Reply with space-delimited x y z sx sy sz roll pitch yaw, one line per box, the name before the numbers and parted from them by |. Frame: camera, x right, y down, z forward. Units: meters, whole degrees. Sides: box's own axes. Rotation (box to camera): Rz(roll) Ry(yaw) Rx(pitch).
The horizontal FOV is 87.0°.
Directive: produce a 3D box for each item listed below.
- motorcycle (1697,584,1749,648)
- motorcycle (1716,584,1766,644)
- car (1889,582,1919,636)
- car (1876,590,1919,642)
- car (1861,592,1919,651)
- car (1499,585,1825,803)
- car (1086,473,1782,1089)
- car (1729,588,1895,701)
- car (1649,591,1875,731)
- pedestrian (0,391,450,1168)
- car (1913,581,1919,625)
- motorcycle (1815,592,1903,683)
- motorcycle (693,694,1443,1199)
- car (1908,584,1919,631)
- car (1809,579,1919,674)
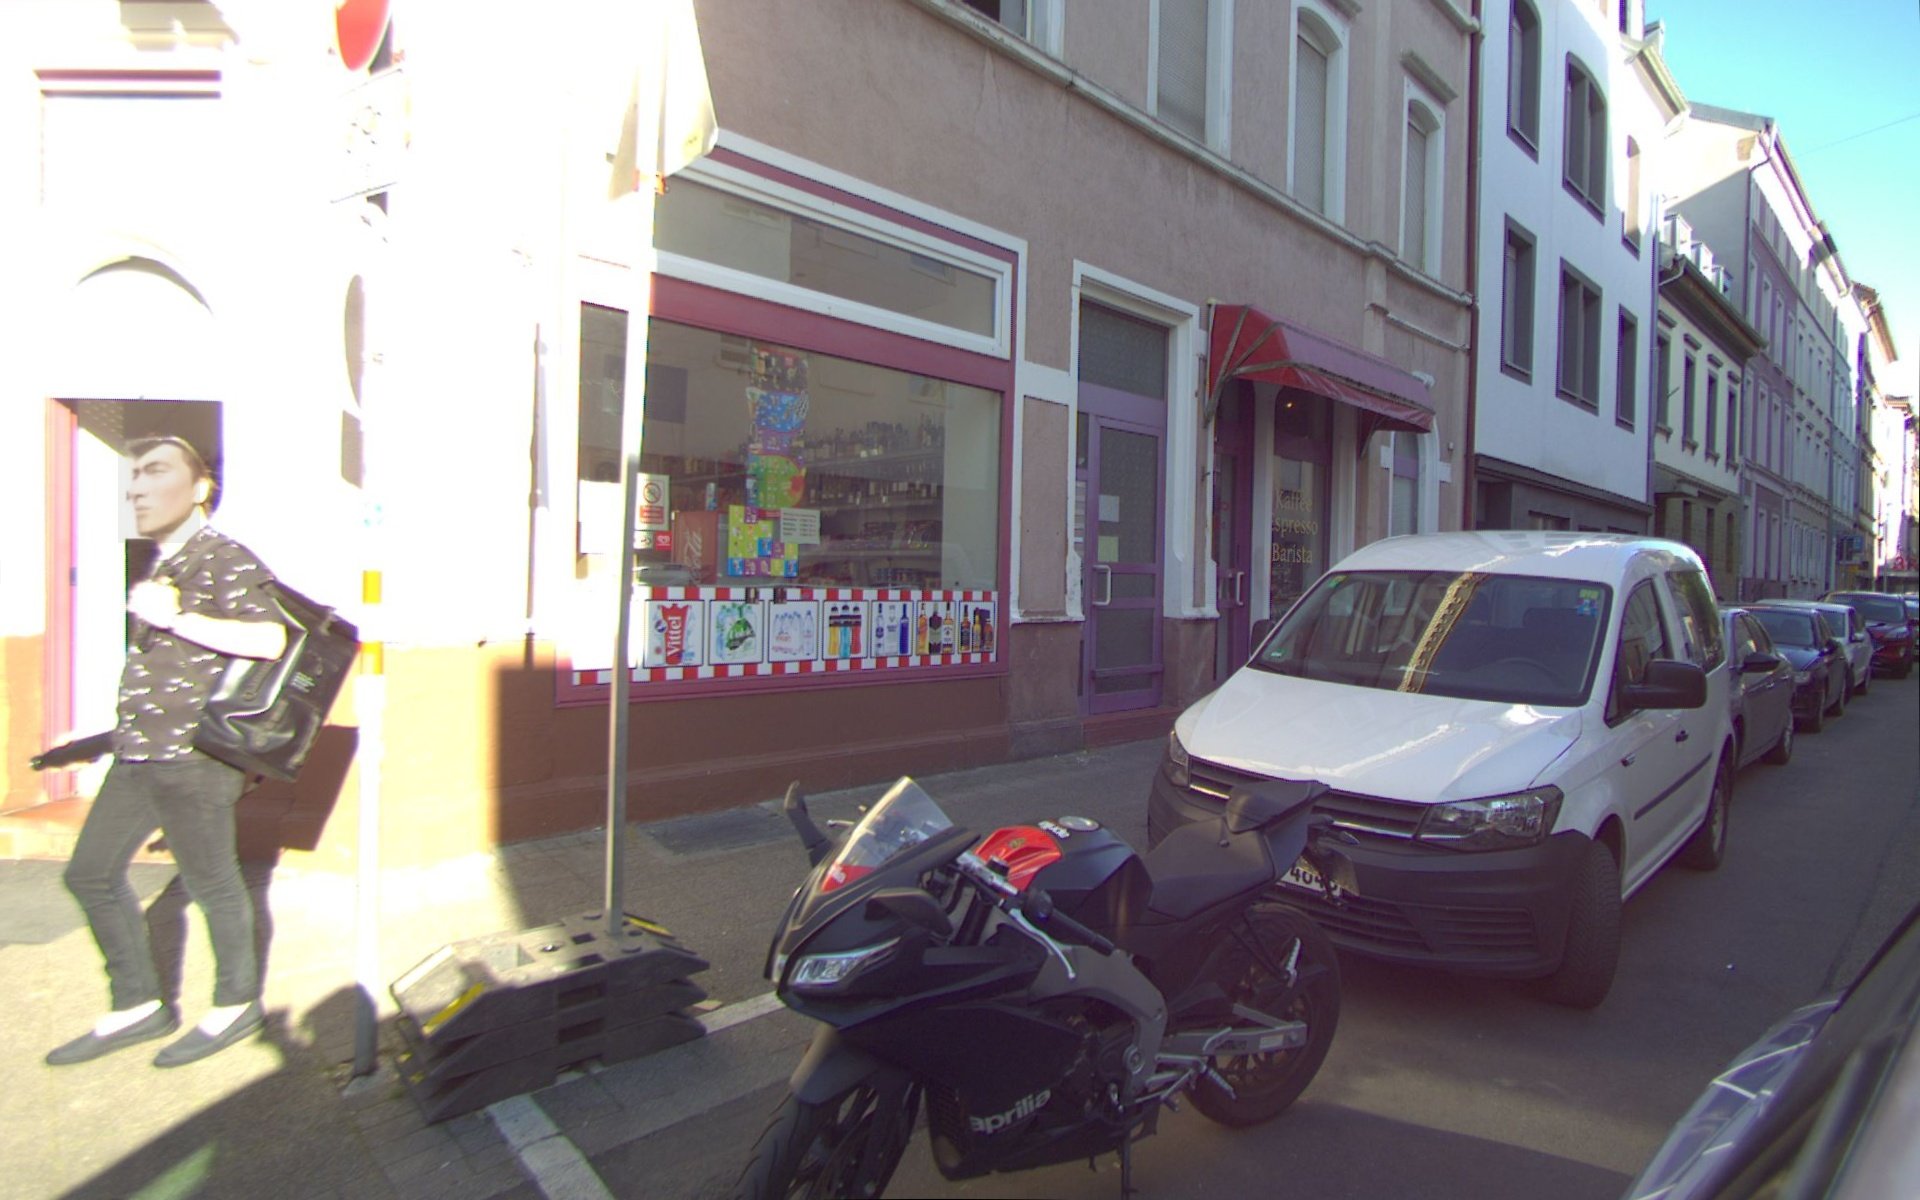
motorcycle | 17.658 0.348 23.404 2.004 1.414 0.666 -1 1 -44
motorcycle | 19.240 0.321 24.919 2.004 1.414 0.696 -1 1 -44
car | 33.262 0.300 34.775 4.151 1.752 1.711 -1 3 -44
car | 29.392 0.470 31.048 3.818 1.470 1.610 -1 3 -44
car | 25.226 0.533 26.892 3.818 1.412 1.610 -1 3 -44
car | 6.278 0.622 8.884 3.818 1.425 1.610 -1 3 -44
car | 2.696 0.471 5.139 4.298 1.839 1.750 -1 3 -44
car | 13.679 0.608 16.178 3.711 1.522 1.618 -1 3 -44
car | 10.287 0.640 12.884 3.818 1.412 1.733 -1 4 -44
pedestrian | -2.215 0.388 2.978 0.822 1.814 0.979 4 3 31
car | 41.817 0.140 42.999 4.151 1.834 1.711 -1 3 -44
motorcycle | 16.510 0.636 18.567 2.230 1.507 0.989 -1 3 -44
motorcycle | 0.370 0.885 2.689 1.957 1.100 0.721 -1 -1 -33
car | 38.125 0.285 39.261 4.151 1.752 1.711 -1 3 -44
car | 19.424 0.472 21.460 4.336 1.752 1.711 -1 3 -44
